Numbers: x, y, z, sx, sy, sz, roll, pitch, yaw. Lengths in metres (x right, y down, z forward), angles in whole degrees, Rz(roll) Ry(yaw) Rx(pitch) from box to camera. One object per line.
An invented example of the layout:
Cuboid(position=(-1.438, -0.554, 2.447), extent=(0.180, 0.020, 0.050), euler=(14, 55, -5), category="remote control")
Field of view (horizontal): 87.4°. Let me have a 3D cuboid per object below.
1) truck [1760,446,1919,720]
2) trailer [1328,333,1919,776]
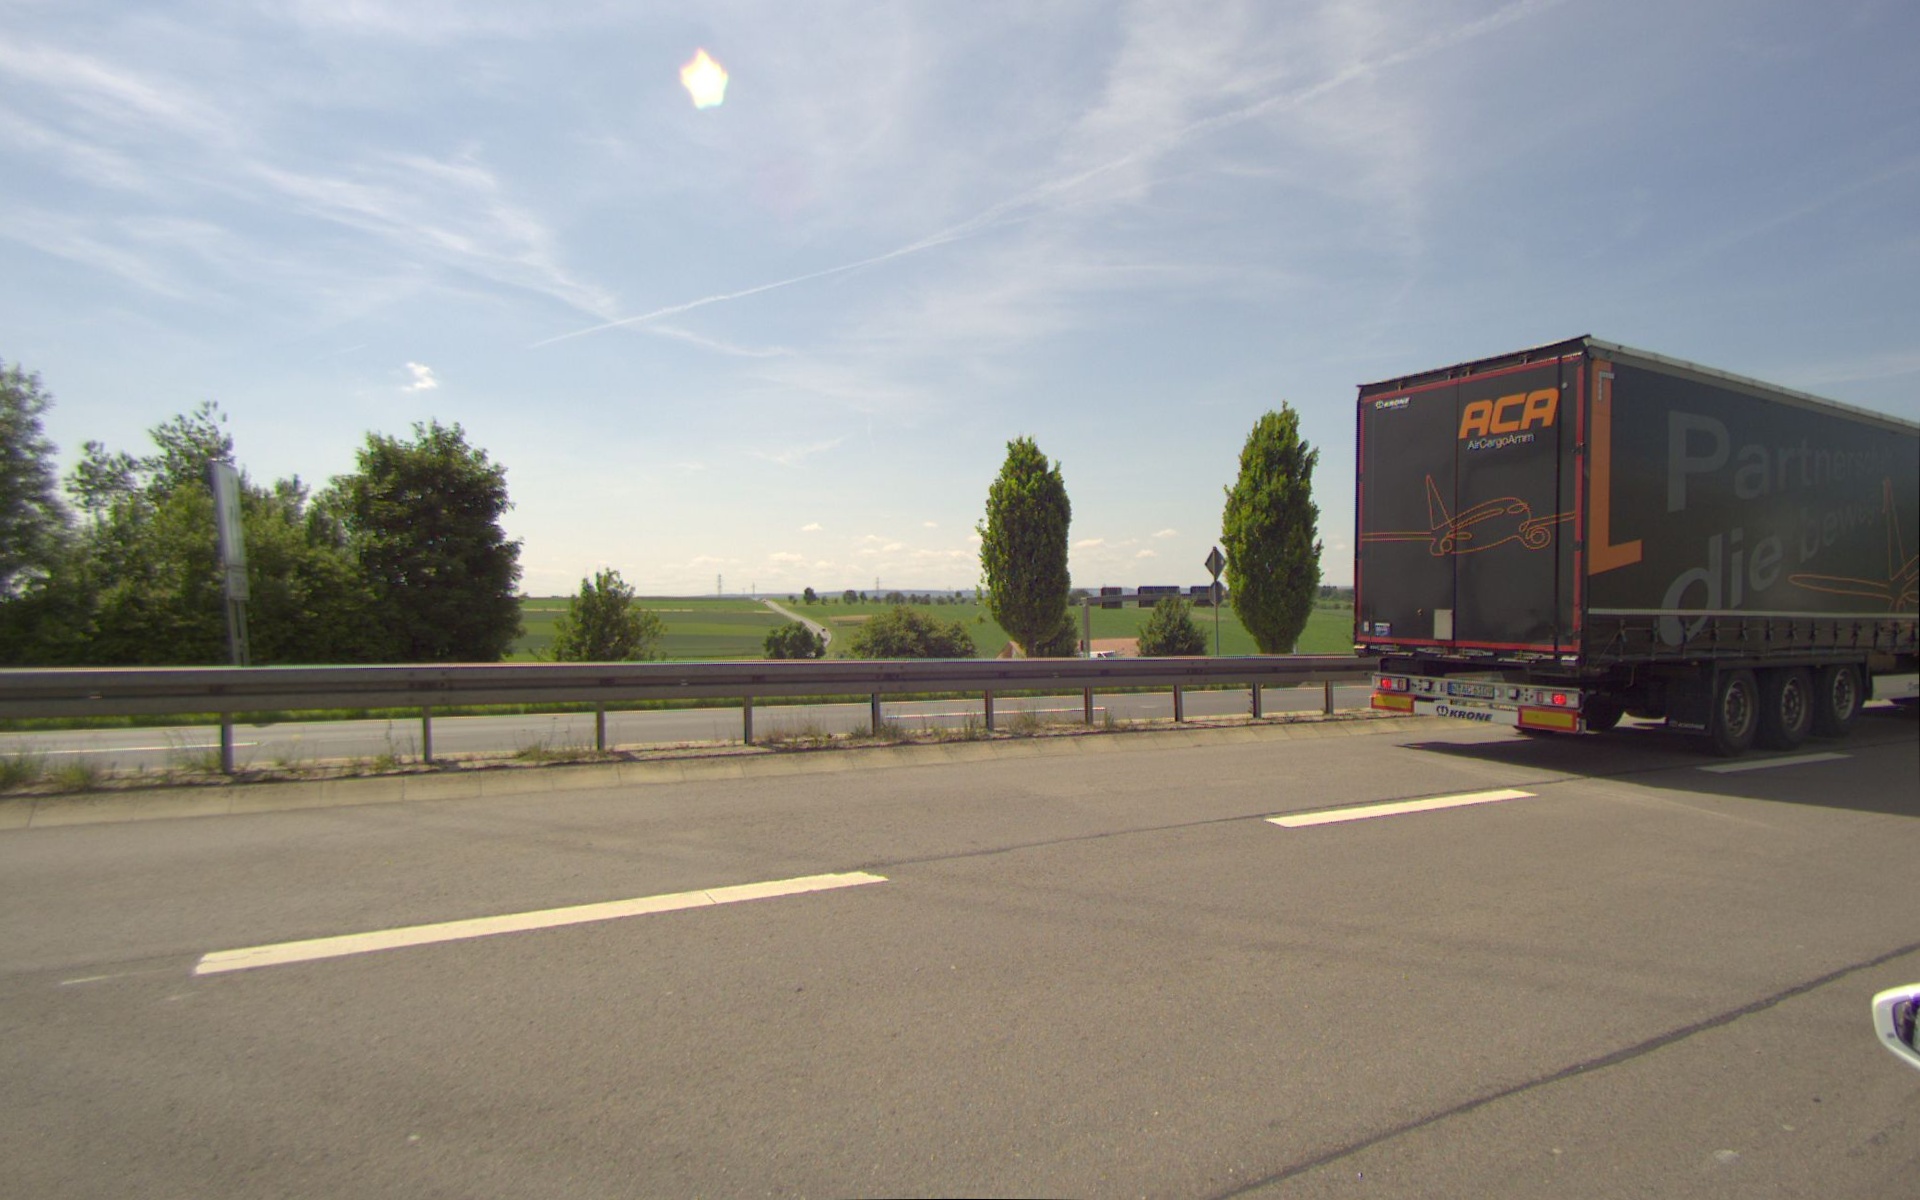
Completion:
Cuboid(position=(16.528, -0.194, 16.879), extent=(5.899, 4.067, 2.770), euler=(1, 0, -30), category="truck")
Cuboid(position=(10.801, -0.269, 13.591), extent=(13.621, 3.966, 2.770), euler=(1, 0, -30), category="trailer")
